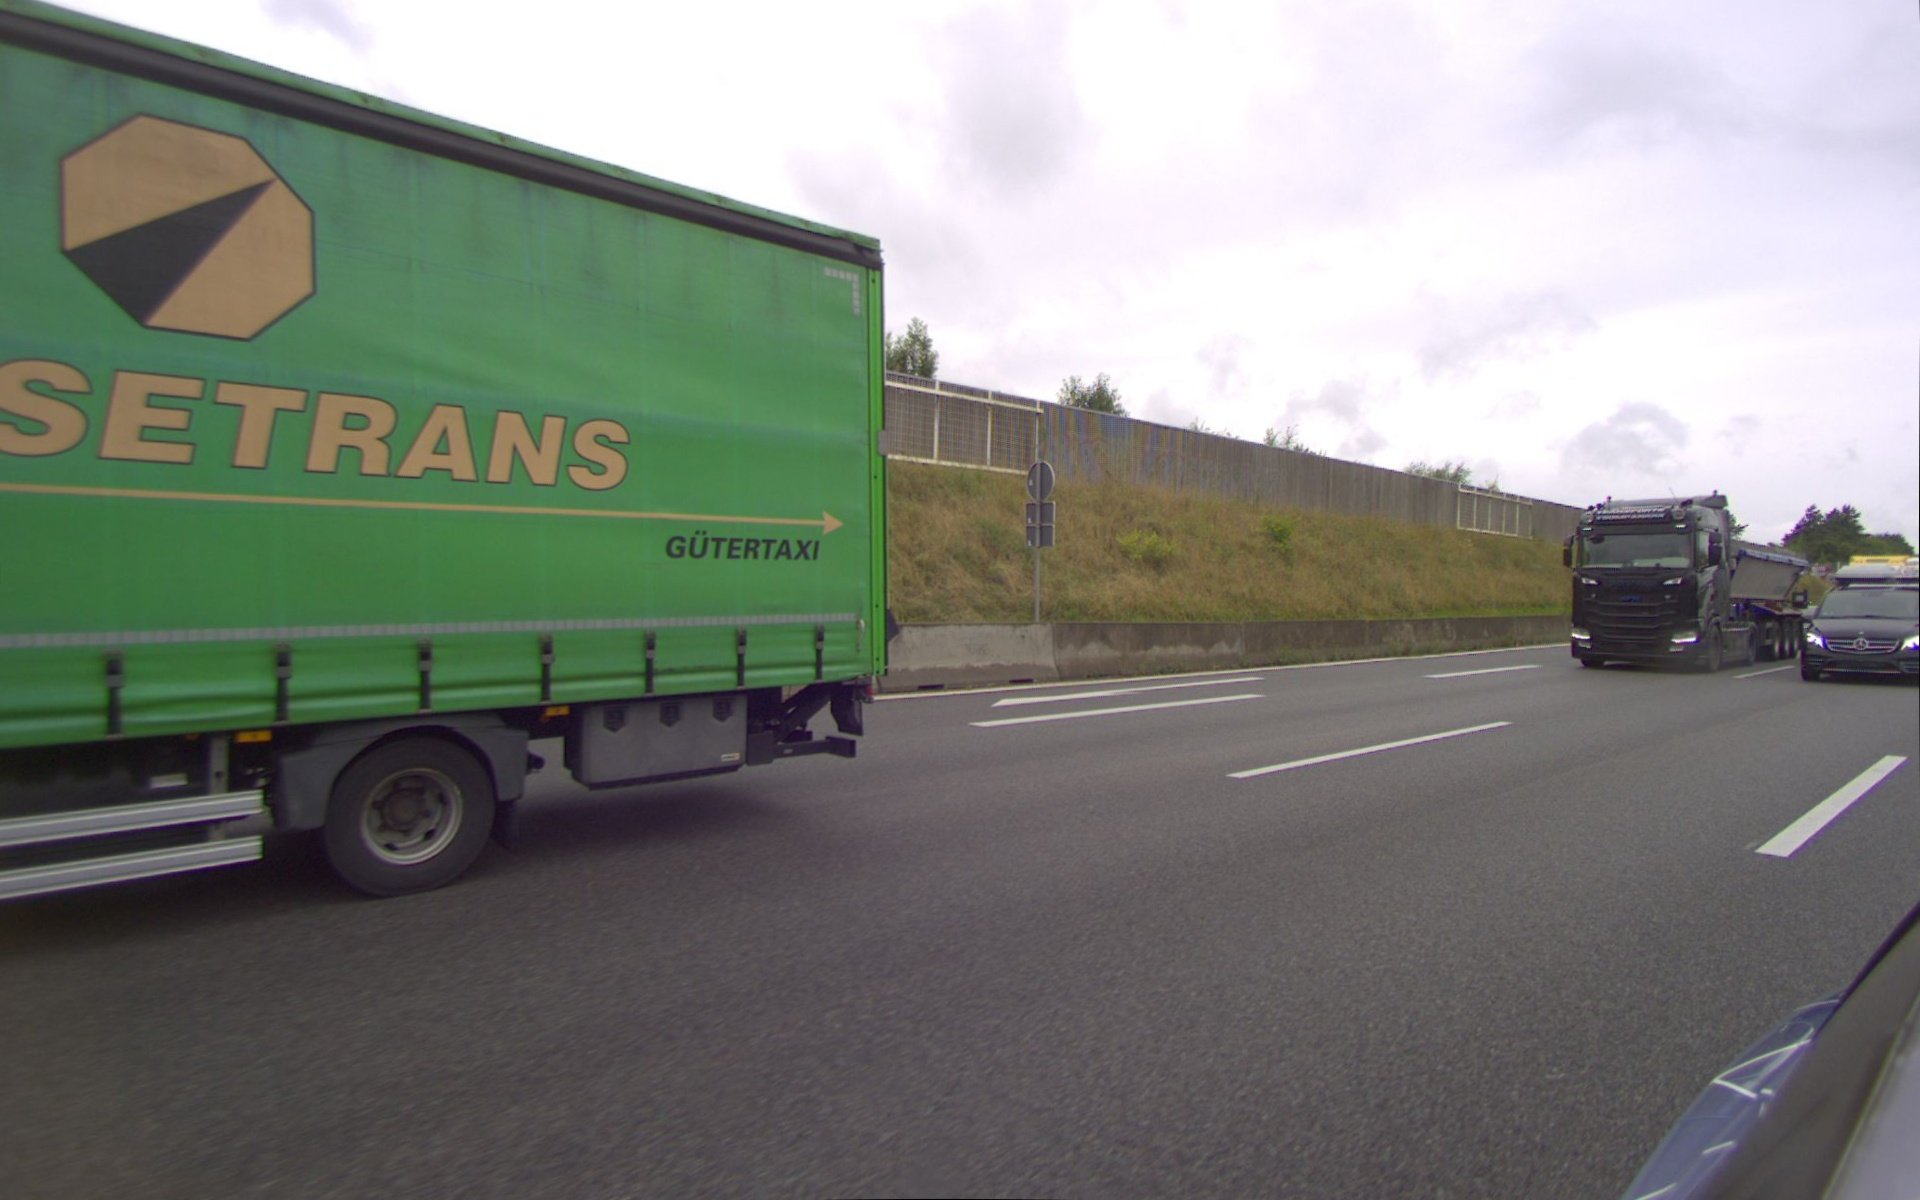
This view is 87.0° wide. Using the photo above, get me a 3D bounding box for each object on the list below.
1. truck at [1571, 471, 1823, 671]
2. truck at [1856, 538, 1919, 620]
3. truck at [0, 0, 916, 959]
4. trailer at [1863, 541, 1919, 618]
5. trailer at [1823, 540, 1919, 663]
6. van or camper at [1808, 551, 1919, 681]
[{"bbox_3d":[19.066,-0.645,25.641,12.500,3.999,2.816,0,2,-43],"label":"truck"},{"bbox_3d":[49.821,-1.033,53.605,9.170,4.008,2.688,0,0,-43],"label":"truck"},{"bbox_3d":[-5.731,-1.352,4.486,11.024,5.332,4.004,0,0,-41],"label":"truck"},{"bbox_3d":[55.023,-1.077,58.604,16.406,4.003,2.653,0,0,-43],"label":"trailer"},{"bbox_3d":[23.509,0.058,24.687,7.381,2.675,2.725,1,1,-42],"label":"trailer"},{"bbox_3d":[18.699,0.300,20.269,5.582,2.298,1.893,1,-1,-42],"label":"van or camper"}]
